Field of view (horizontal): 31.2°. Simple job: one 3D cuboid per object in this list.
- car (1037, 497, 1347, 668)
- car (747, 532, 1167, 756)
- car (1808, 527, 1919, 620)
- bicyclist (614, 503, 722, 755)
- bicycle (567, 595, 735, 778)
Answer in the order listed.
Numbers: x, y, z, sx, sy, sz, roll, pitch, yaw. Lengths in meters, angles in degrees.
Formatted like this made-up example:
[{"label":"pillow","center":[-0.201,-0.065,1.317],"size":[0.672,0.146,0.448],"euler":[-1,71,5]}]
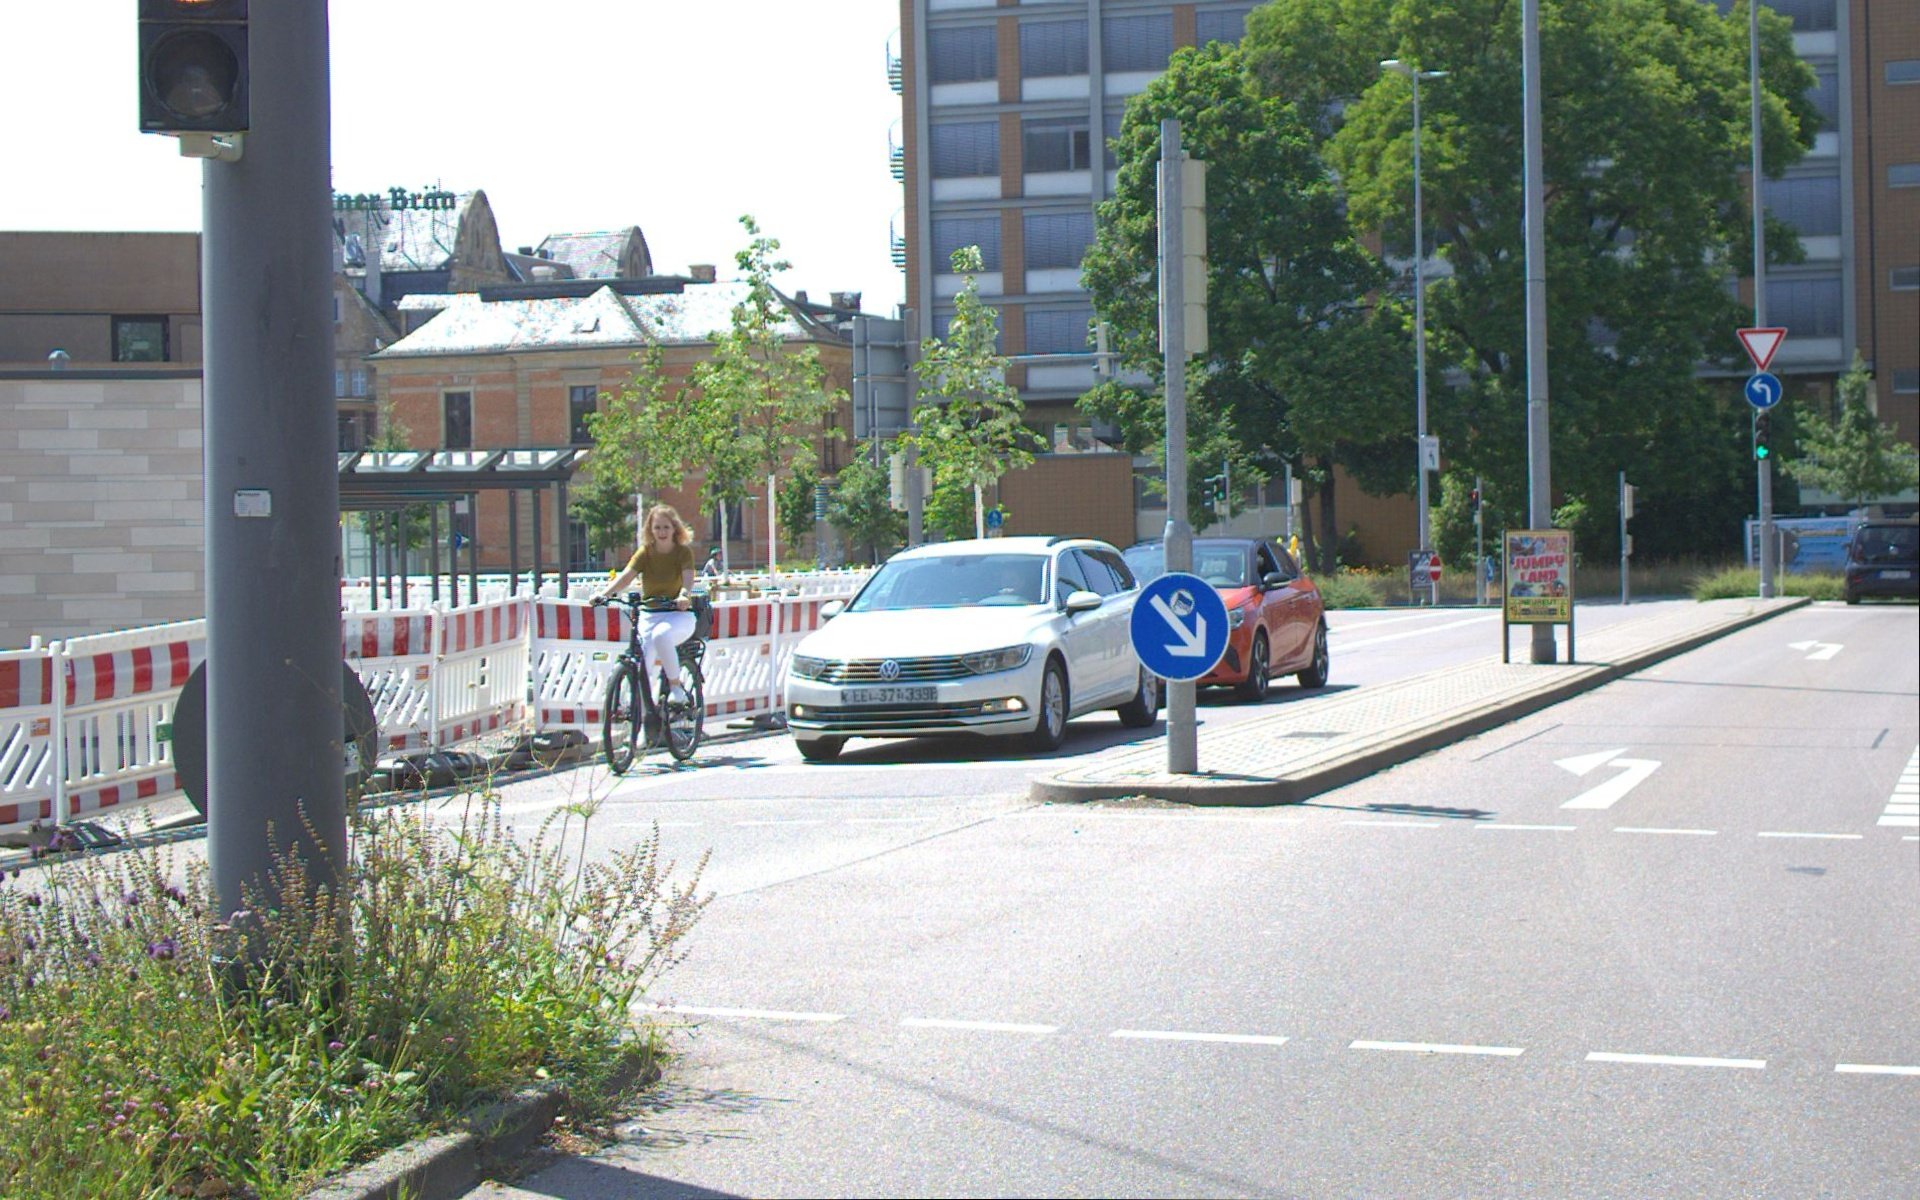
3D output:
[{"label":"car","center":[2.177,-0.161,31.112],"size":[1.733,1.420,4.120],"euler":[-1,0,19]},{"label":"car","center":[0.105,0.277,24.783],"size":[1.995,1.433,4.703],"euler":[-1,0,13]},{"label":"car","center":[15.736,-0.480,59.437],"size":[1.689,1.521,3.689],"euler":[-1,1,8]},{"label":"bicyclist","center":[-2.011,0.187,23.713],"size":[0.567,1.713,0.506],"euler":[1,2,24]},{"label":"bicycle","center":[-2.090,0.570,23.489],"size":[0.398,1.170,1.769],"euler":[-1,1,20]}]
